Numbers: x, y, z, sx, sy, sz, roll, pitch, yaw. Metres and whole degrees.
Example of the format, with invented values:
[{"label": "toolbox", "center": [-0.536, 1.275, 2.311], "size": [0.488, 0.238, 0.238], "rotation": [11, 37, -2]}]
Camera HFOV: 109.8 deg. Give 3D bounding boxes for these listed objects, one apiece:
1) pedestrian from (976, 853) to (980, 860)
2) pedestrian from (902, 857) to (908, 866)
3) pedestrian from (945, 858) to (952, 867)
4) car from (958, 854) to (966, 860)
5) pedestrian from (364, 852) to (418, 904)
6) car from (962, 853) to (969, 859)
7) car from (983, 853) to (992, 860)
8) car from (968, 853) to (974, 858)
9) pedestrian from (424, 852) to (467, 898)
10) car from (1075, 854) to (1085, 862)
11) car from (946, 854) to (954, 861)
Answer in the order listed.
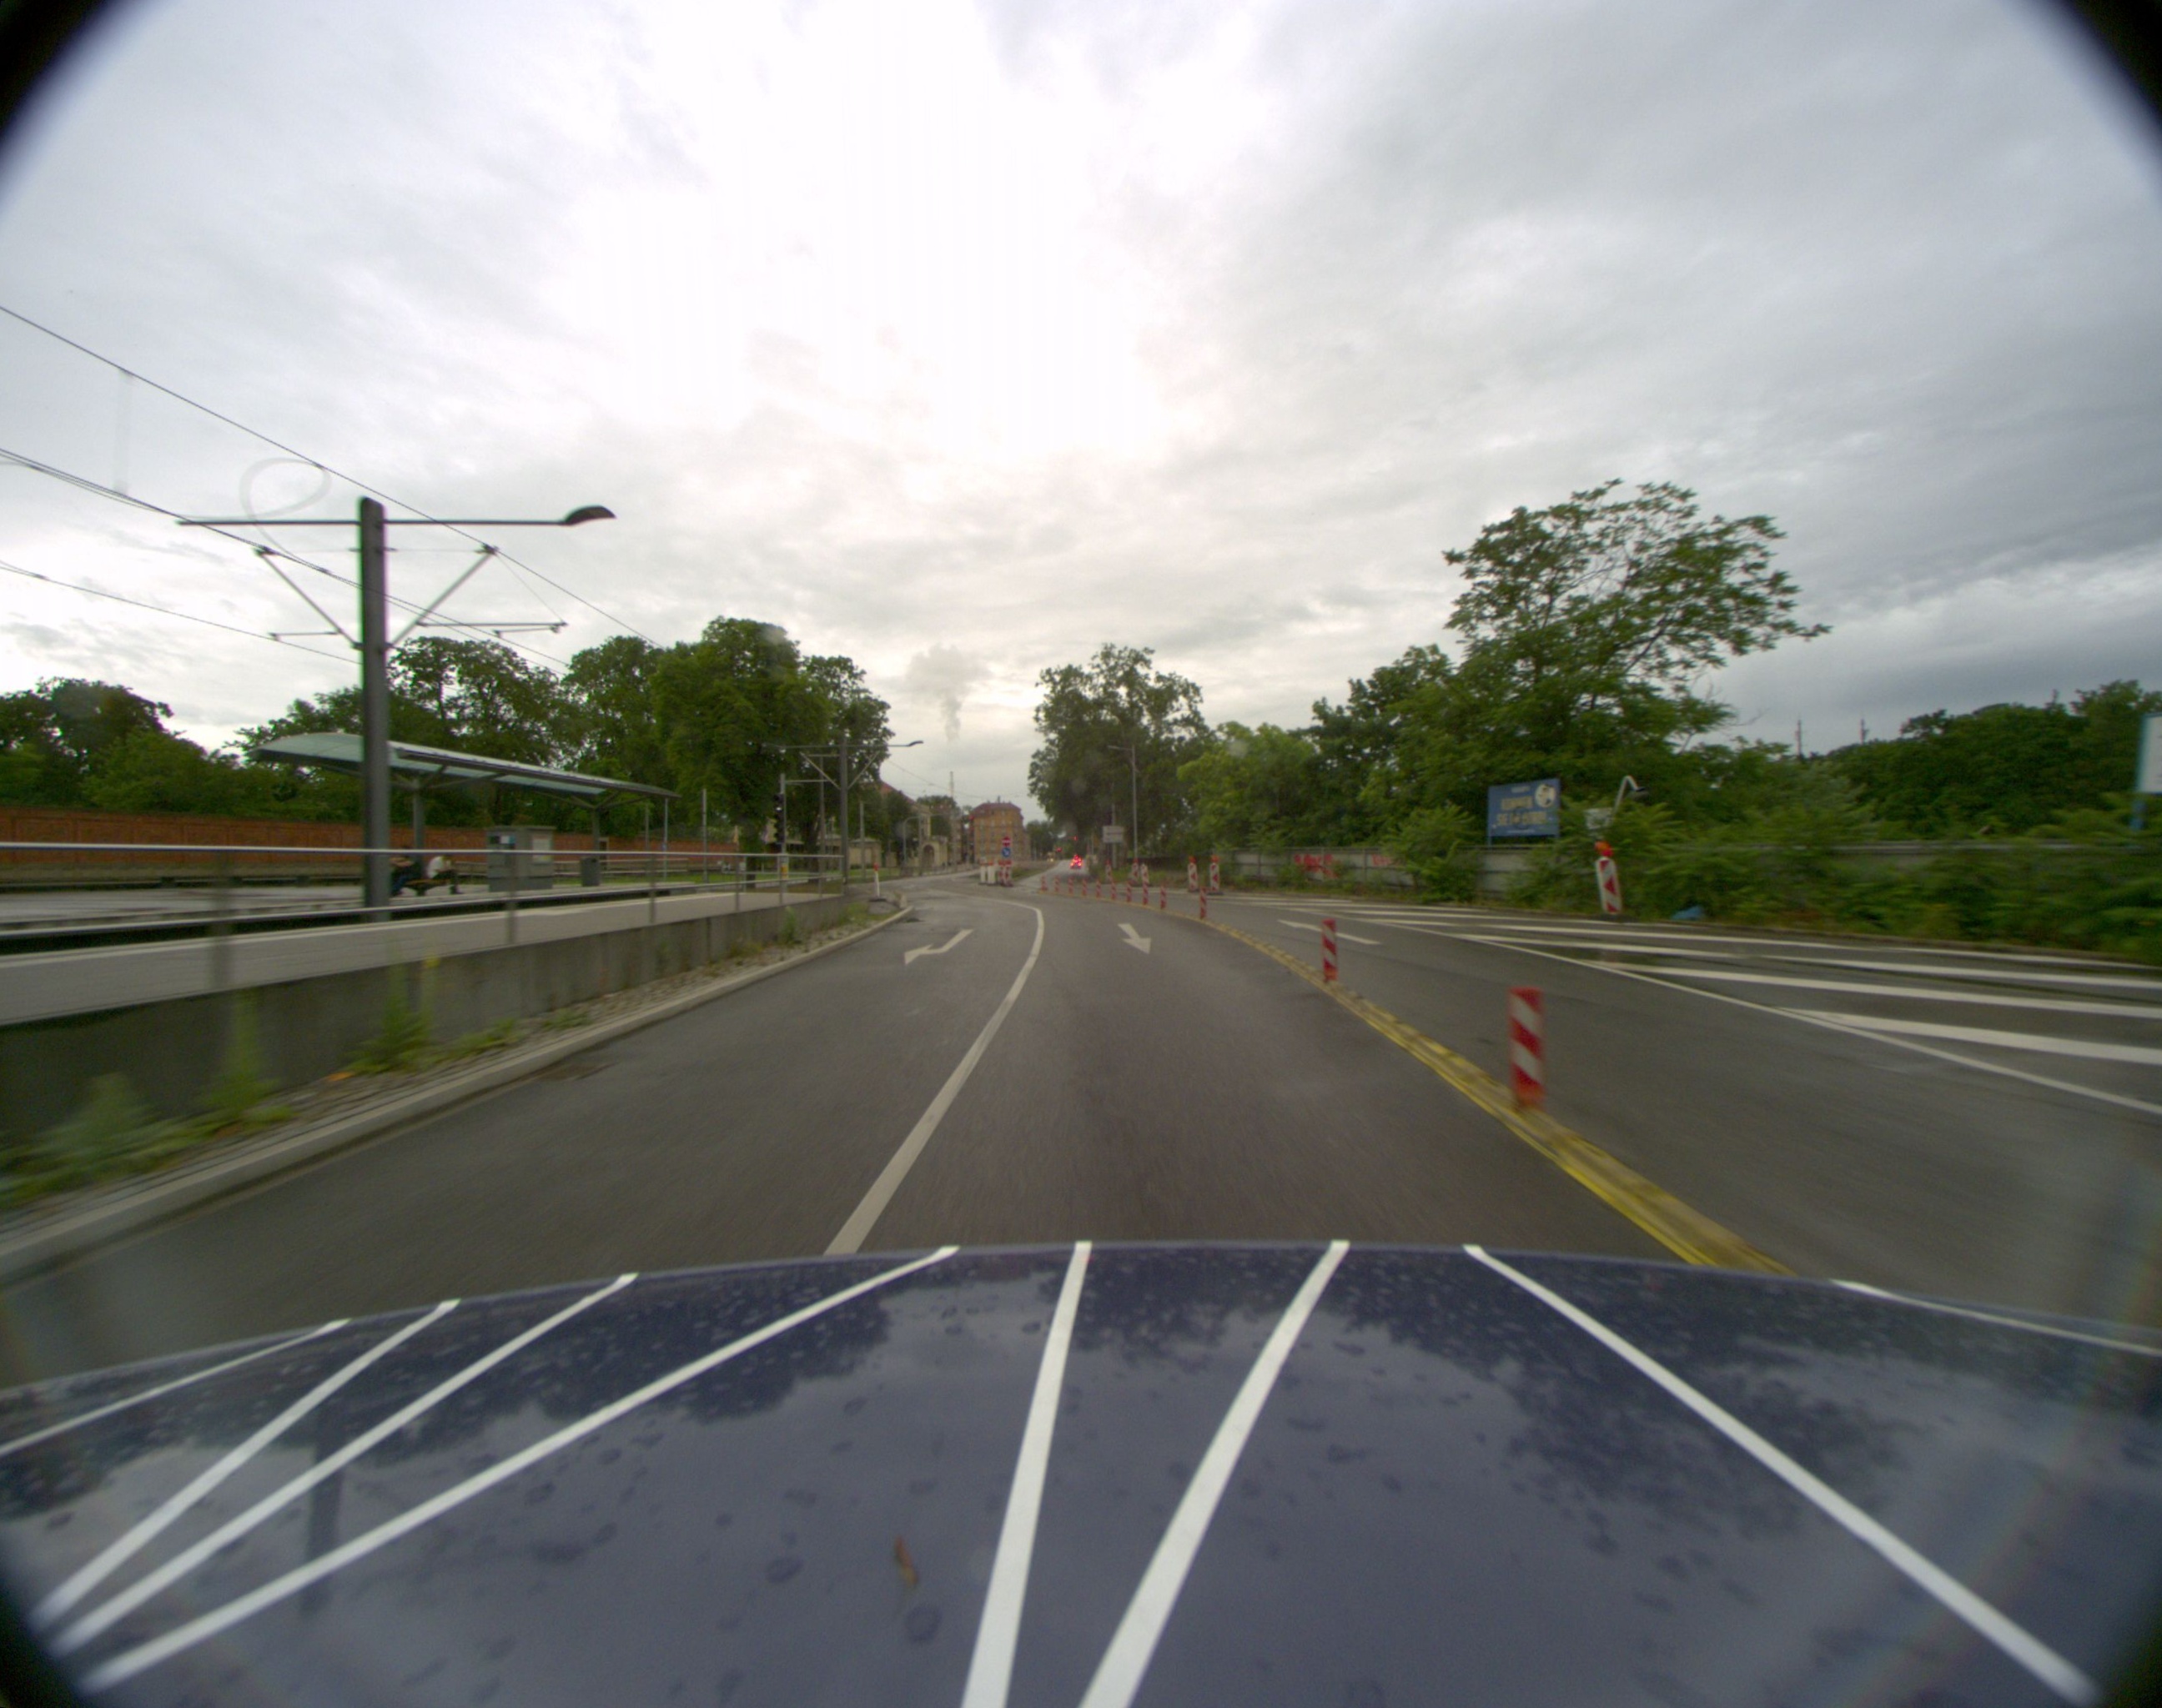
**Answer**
[{"label": "pedestrian", "center": [-25.621, 0.629, 188.740], "size": [0.783, 1.797, 0.696], "rotation": [-4, 2, -41]}, {"label": "pedestrian", "center": [-31.639, 1.324, 136.421], "size": [0.730, 1.701, 0.981], "rotation": [-1, 1, 0]}, {"label": "pedestrian", "center": [-23.209, 1.550, 133.107], "size": [0.863, 1.581, 0.669], "rotation": [1, 1, 26]}, {"label": "car", "center": [-31.392, 0.787, 200.691], "size": [1.831, 1.573, 3.997], "rotation": [-1, 1, -6]}, {"label": "pedestrian", "center": [-17.186, 0.583, 18.942], "size": [0.520, 1.206, 0.782], "rotation": [-5, 2, -4]}, {"label": "car", "center": [-32.206, 0.535, 211.538], "size": [1.831, 1.573, 3.997], "rotation": [-1, 1, -6]}, {"label": "car", "center": [-22.446, 0.636, 182.300], "size": [1.844, 1.630, 4.140], "rotation": [-4, 1, -5]}, {"label": "car", "center": [-36.411, 0.433, 252.259], "size": [1.831, 1.573, 3.997], "rotation": [-1, 1, -6]}, {"label": "pedestrian", "center": [-16.510, 0.542, 19.749], "size": [0.602, 1.113, 0.519], "rotation": [-5, 2, -16]}, {"label": "car", "center": [-0.119, 0.691, 135.388], "size": [1.713, 1.490, 4.719], "rotation": [0, 1, -1]}, {"label": "car", "center": [-34.597, 0.898, 200.606], "size": [1.865, 1.539, 4.063], "rotation": [-2, 1, -7]}]
